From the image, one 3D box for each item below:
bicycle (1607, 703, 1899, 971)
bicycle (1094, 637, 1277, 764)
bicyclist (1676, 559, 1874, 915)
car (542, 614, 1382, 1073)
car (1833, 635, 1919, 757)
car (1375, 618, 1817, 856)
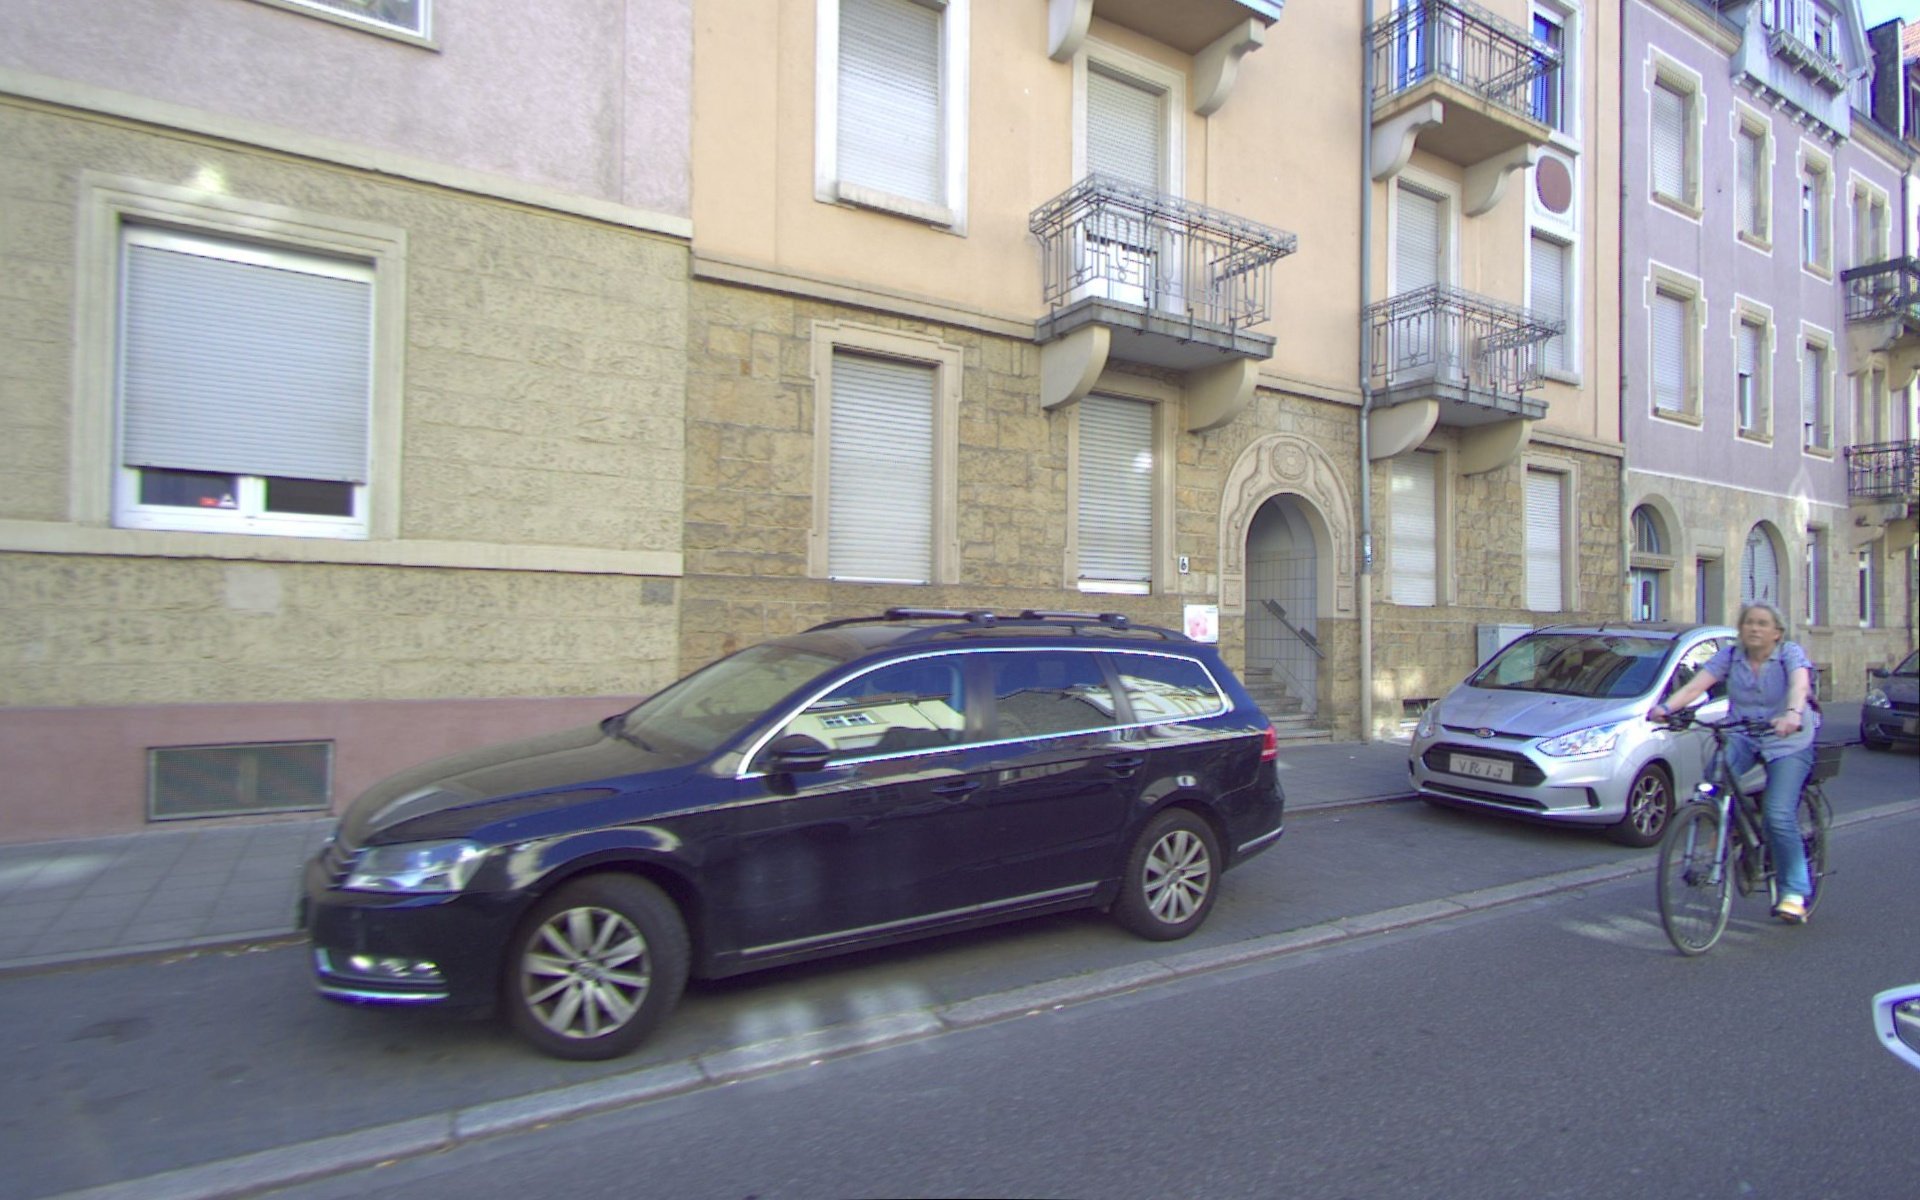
[{"bbox_3d":[4.083,1.121,5.137,1.778,1.090,0.538,1,-1,-29],"label":"bicycle"},{"bbox_3d":[2.323,0.985,10.290,1.829,1.187,0.696,1,-1,-29],"label":"bicycle"},{"bbox_3d":[4.205,0.661,5.198,0.624,1.687,0.605,1,-1,-30],"label":"bicyclist"},{"bbox_3d":[0.150,0.887,5.188,4.063,1.541,1.706,1,-2,-31],"label":"car"},{"bbox_3d":[13.128,1.213,12.976,3.623,1.412,1.664,1,2,-30],"label":"car"},{"bbox_3d":[5.327,0.946,8.328,3.682,1.558,1.705,1,-1,-32],"label":"car"}]
